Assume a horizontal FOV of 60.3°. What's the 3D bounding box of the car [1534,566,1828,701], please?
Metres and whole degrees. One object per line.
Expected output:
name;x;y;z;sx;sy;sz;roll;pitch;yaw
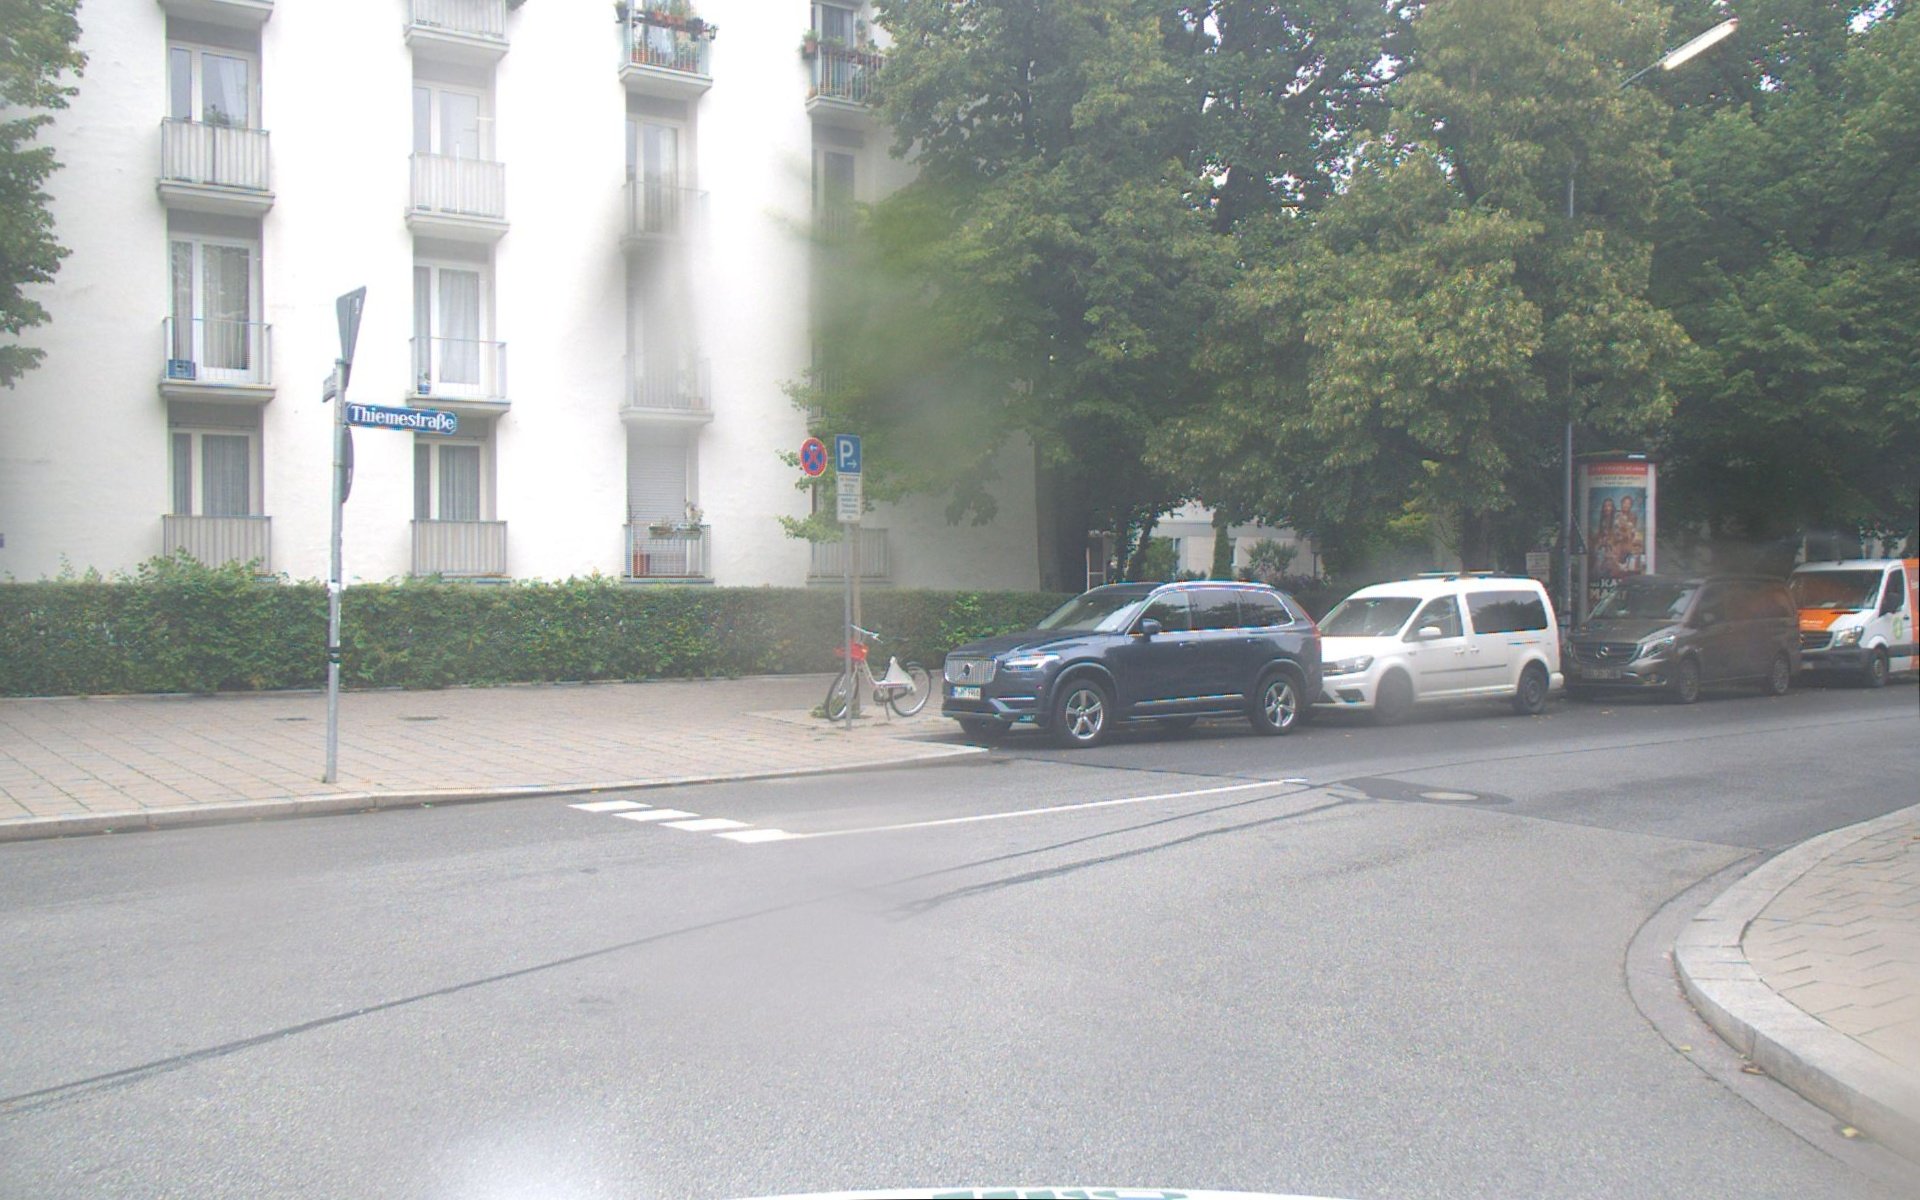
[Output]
car;11.542;0.483;26.266;5.613;1.941;2.003;0;-1;-40

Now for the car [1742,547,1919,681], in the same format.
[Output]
car;17.033;0.259;30.959;5.545;2.304;2.062;0;-1;-38

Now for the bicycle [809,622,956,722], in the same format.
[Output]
bicycle;-0.910;0.833;19.788;0.740;1.104;1.774;0;0;41

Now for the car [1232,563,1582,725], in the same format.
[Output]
car;6.051;0.512;22.151;4.807;1.937;2.063;0;0;-37

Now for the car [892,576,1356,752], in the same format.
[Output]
car;1.961;0.618;18.764;5.245;1.749;2.064;0;0;-36
